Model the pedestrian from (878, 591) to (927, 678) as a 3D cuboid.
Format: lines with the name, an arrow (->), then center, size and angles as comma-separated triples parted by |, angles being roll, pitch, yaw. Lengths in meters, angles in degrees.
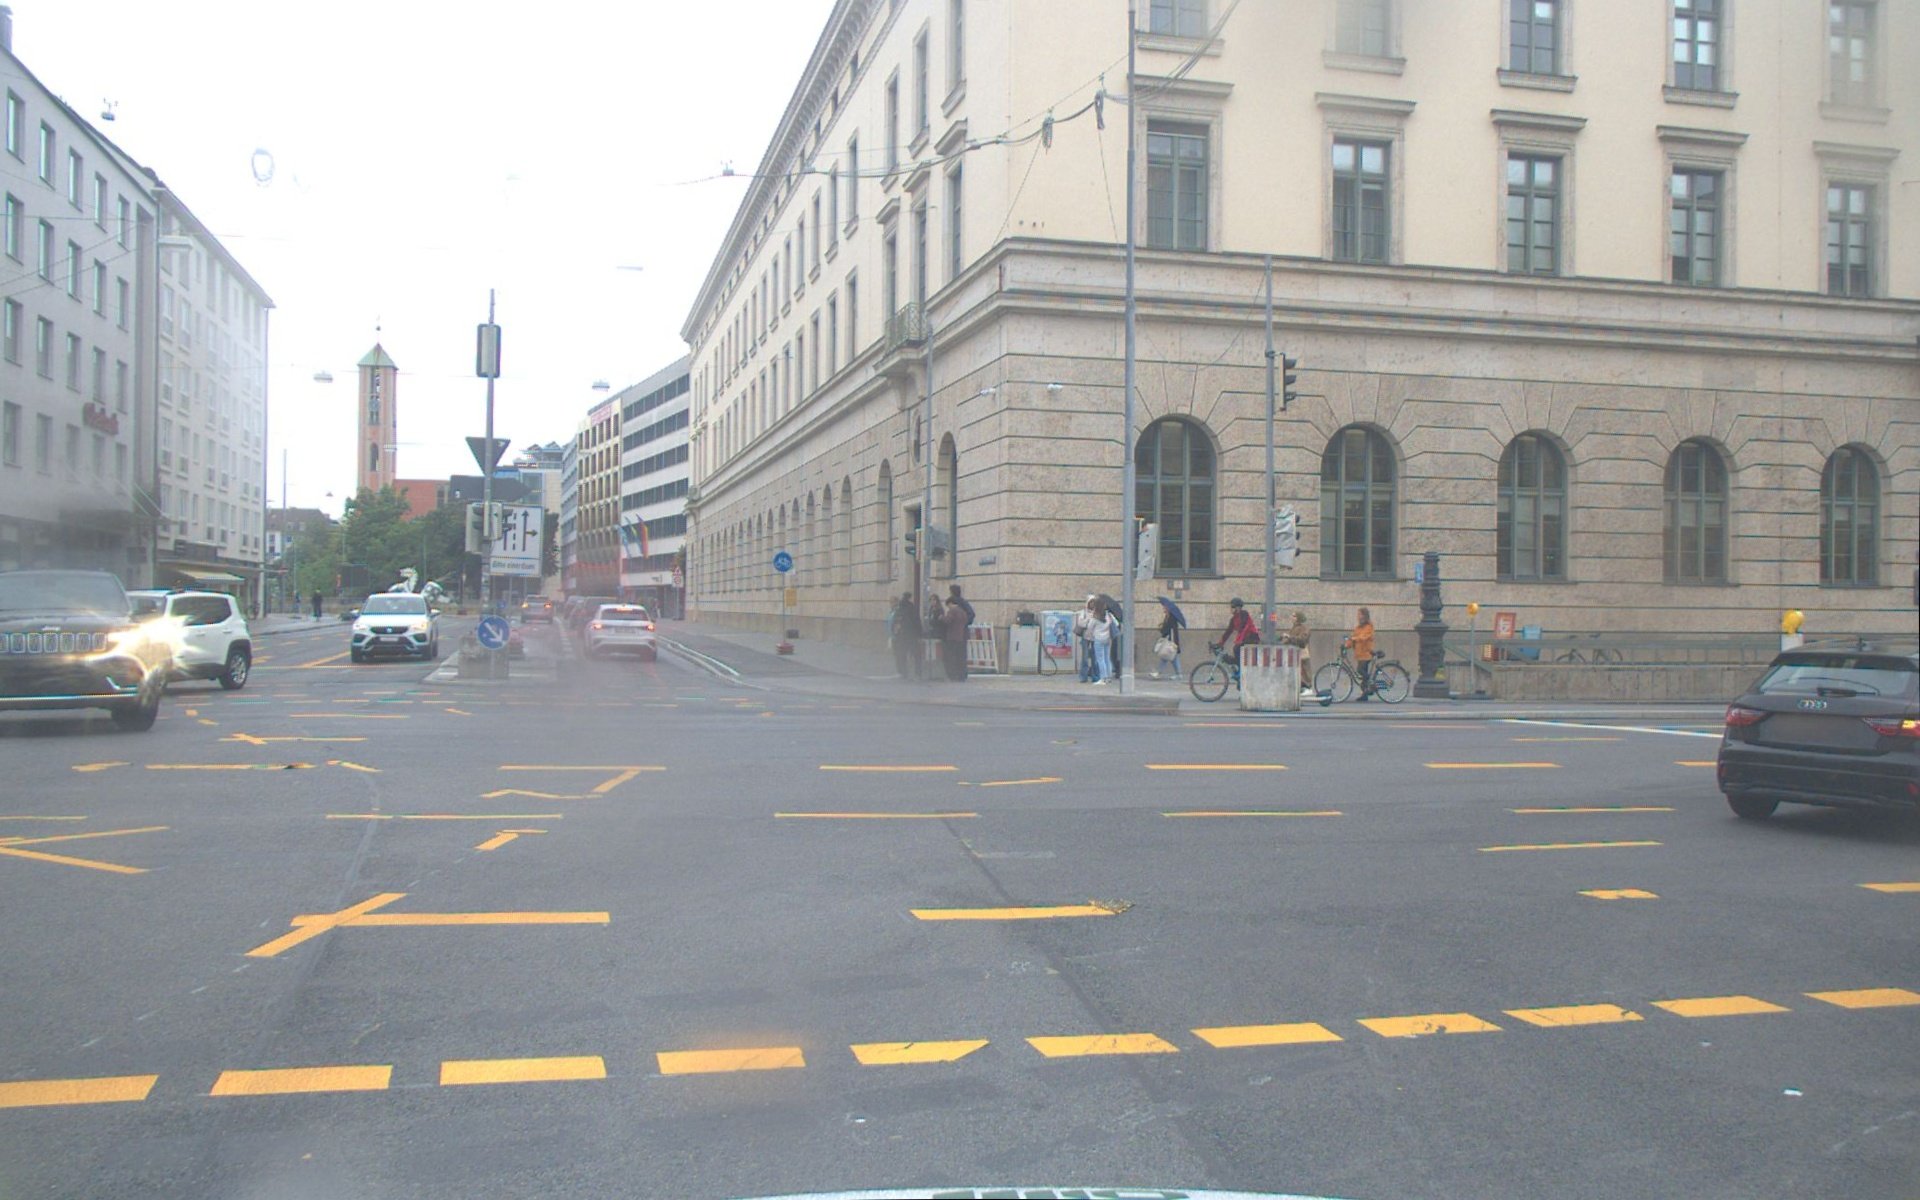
pedestrian -> -1.197, 0.719, 34.351 | 0.576, 1.786, 0.814 | 1, -1, 45

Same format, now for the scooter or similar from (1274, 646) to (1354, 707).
scooter or similar -> 6.042, 1.303, 28.261 | 1.190, 0.982, 0.586 | 2, -1, -13

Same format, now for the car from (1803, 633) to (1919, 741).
car -> 14.181, 1.225, 23.179 | 4.156, 1.413, 1.742 | 2, -2, -15

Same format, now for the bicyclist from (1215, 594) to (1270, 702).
bicyclist -> 5.016, 0.848, 29.370 | 0.730, 1.874, 0.659 | 2, -1, -12

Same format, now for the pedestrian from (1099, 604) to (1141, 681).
pedestrian -> 3.343, 0.882, 34.607 | 0.653, 1.554, 0.818 | 2, -1, -11

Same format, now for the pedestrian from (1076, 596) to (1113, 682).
pedestrian -> 2.698, 0.779, 33.165 | 0.604, 1.701, 0.541 | 2, -1, -7

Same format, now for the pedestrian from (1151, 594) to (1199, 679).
pedestrian -> 4.447, 0.750, 34.196 | 0.703, 1.723, 0.817 | 2, -1, -13

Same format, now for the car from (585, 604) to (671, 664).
car -> -8.951, 0.881, 44.339 | 1.784, 1.449, 4.431 | 2, 0, -17

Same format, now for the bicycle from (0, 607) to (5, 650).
bicycle -> -28.549, 0.837, 48.151 | 0.587, 1.264, 2.192 | 2, 0, -12

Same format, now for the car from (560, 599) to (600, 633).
car -> -18.918, 0.783, 82.301 | 1.834, 1.629, 3.836 | 1, 0, -15

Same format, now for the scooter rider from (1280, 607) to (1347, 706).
scooter rider -> 6.040, 0.961, 28.259 | 0.916, 1.651, 0.590 | 2, -1, -13

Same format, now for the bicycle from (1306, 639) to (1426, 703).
bicycle -> 7.254, 1.262, 29.577 | 1.923, 1.059, 0.793 | 2, -1, -12

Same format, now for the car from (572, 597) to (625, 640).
car -> -14.019, 0.696, 64.087 | 1.834, 1.629, 3.836 | 1, 0, -15

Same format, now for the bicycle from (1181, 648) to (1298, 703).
bicycle -> 4.957, 1.339, 29.352 | 1.937, 0.895, 0.659 | 2, -1, -12

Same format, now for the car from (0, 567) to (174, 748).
car -> -10.186, 0.556, 18.393 | 1.977, 1.765, 4.531 | 1, 0, -34

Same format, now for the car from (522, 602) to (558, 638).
car -> -24.684, 1.160, 97.188 | 1.960, 2.049, 3.984 | 1, 0, -15

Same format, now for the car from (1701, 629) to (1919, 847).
car -> 7.670, 0.982, 13.124 | 3.966, 1.412, 1.841 | 0, 1, -42

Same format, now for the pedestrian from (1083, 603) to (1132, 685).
pedestrian -> 2.886, 0.854, 32.460 | 0.802, 1.584, 0.666 | 2, -1, -7

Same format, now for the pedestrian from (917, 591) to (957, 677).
pedestrian -> -0.482, 0.725, 35.100 | 0.800, 1.786, 0.585 | 2, -1, 0

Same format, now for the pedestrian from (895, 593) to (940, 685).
pedestrian -> -0.831, 0.773, 32.847 | 0.800, 1.786, 0.680 | 2, -1, 2

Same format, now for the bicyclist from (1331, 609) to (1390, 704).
bicyclist -> 7.155, 1.002, 29.556 | 0.730, 1.643, 0.793 | 2, -1, -12

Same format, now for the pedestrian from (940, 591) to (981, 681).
pedestrian -> 0.020, 0.730, 33.496 | 0.571, 1.786, 0.820 | 1, -1, 17

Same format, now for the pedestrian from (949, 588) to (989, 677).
pedestrian -> 0.188, 0.668, 34.270 | 0.571, 1.786, 0.820 | 1, -1, 17

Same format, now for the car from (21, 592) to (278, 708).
car -> -12.944, 0.738, 26.725 | 1.755, 1.707, 4.235 | 0, 0, 5

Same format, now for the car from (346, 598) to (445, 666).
car -> -13.608, 0.725, 40.073 | 1.960, 1.550, 4.216 | 0, 0, -15
